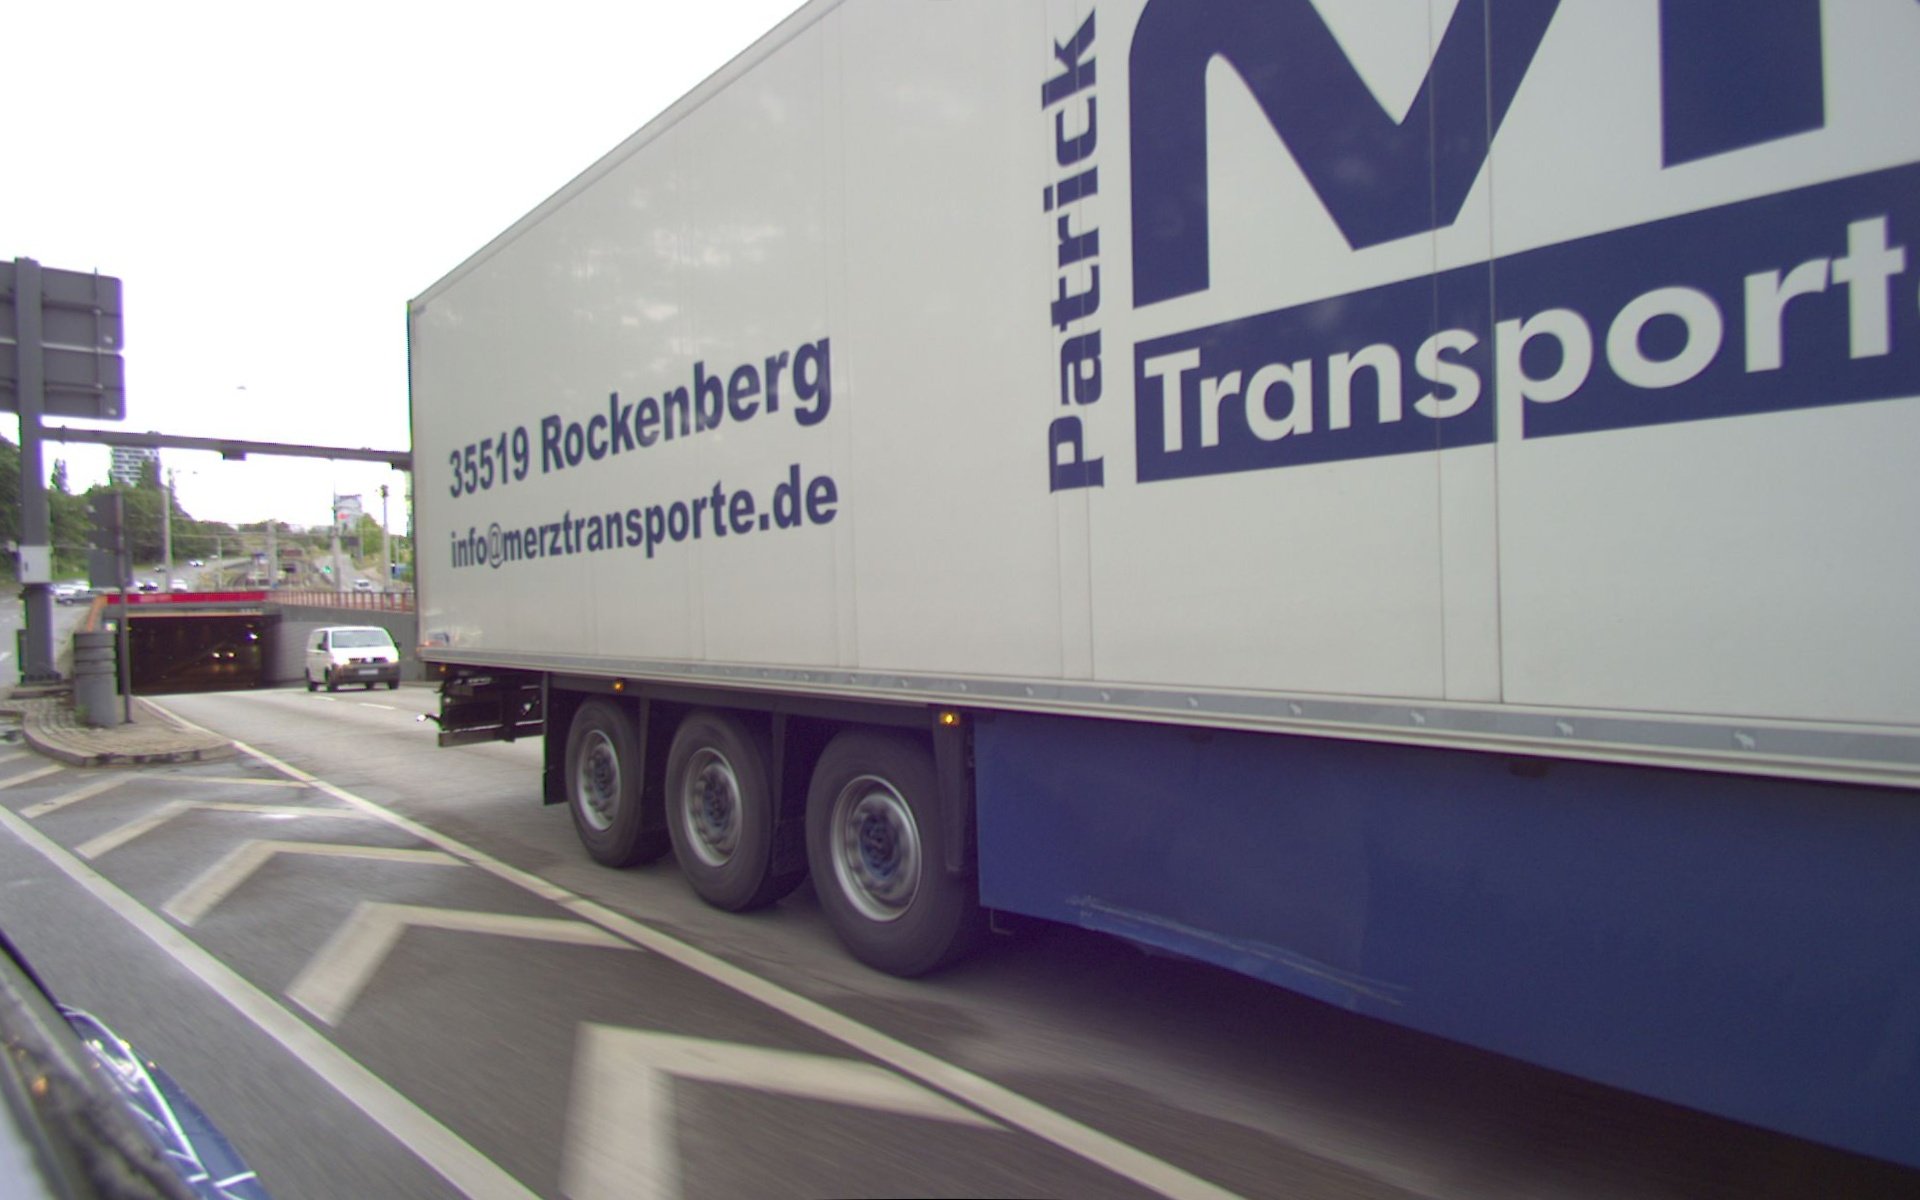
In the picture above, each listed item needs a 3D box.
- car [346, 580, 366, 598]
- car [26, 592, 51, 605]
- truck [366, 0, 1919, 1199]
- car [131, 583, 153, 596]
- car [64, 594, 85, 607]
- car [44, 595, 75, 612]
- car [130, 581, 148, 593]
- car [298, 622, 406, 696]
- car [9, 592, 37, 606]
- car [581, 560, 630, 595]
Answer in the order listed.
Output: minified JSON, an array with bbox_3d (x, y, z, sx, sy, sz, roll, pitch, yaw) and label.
[{"bbox_3d":[-78.369,-1.463,131.237,1.967,2.028,4.011,-1,4,-35],"label":"car"},{"bbox_3d":[-110.349,-0.177,121.172,1.860,1.482,4.017,-2,0,-38],"label":"car"},{"bbox_3d":[0.744,-0.745,4.478,2.730,4.229,13.039,0,-1,-45],"label":"truck"},{"bbox_3d":[-110.252,-1.452,136.447,1.710,1.599,4.013,-1,3,-31],"label":"car"},{"bbox_3d":[-107.587,0.060,123.022,1.775,1.523,4.007,-2,0,-40],"label":"car"},{"bbox_3d":[-96.483,0.339,108.449,1.710,1.599,4.013,-1,3,-31],"label":"car"},{"bbox_3d":[-110.517,-1.805,136.267,1.774,1.482,4.008,-1,3,-39],"label":"car"},{"bbox_3d":[-18.856,1.830,31.298,1.969,2.042,4.691,-1,-2,-42],"label":"car"},{"bbox_3d":[-102.343,-0.102,110.598,1.860,1.482,4.017,-2,0,-38],"label":"car"},{"bbox_3d":[-29.974,-1.917,85.524,1.968,2.853,5.727,2,0,-40],"label":"car"}]
